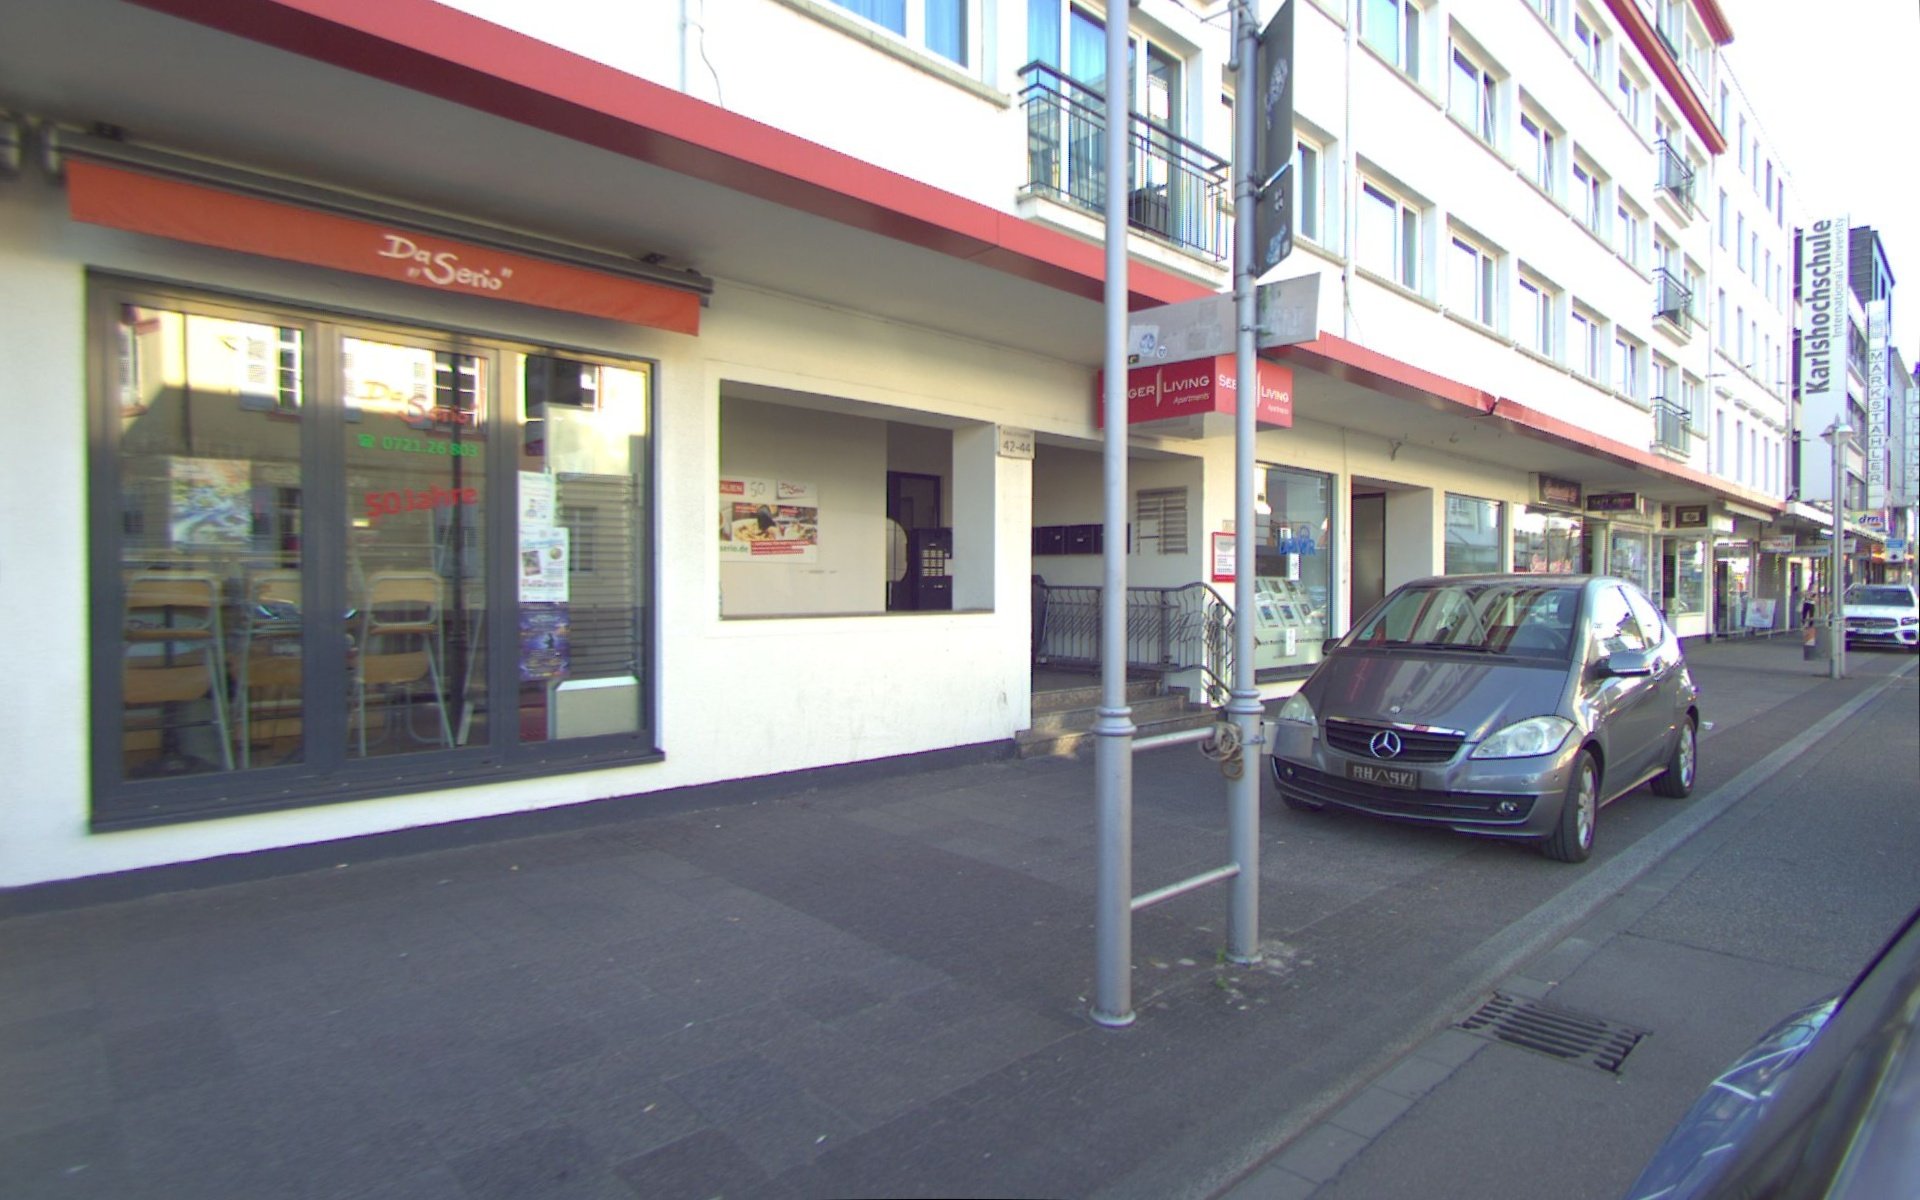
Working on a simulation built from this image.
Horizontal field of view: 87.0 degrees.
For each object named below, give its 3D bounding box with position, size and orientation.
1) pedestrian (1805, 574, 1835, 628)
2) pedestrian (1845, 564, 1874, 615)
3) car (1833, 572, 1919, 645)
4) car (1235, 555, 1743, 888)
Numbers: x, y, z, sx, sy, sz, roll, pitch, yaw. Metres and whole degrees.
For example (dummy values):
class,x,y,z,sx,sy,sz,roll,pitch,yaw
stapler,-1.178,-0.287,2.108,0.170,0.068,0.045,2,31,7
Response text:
class,x,y,z,sx,sy,sz,roll,pitch,yaw
pedestrian,30.038,0.026,35.345,0.794,1.840,0.704,-1,0,-44
pedestrian,32.742,-0.396,36.849,0.736,1.840,0.736,-1,0,-44
car,23.490,0.145,25.488,4.092,1.683,1.781,-2,3,-42
car,3.708,0.510,6.792,3.894,1.588,1.779,-2,3,-42
